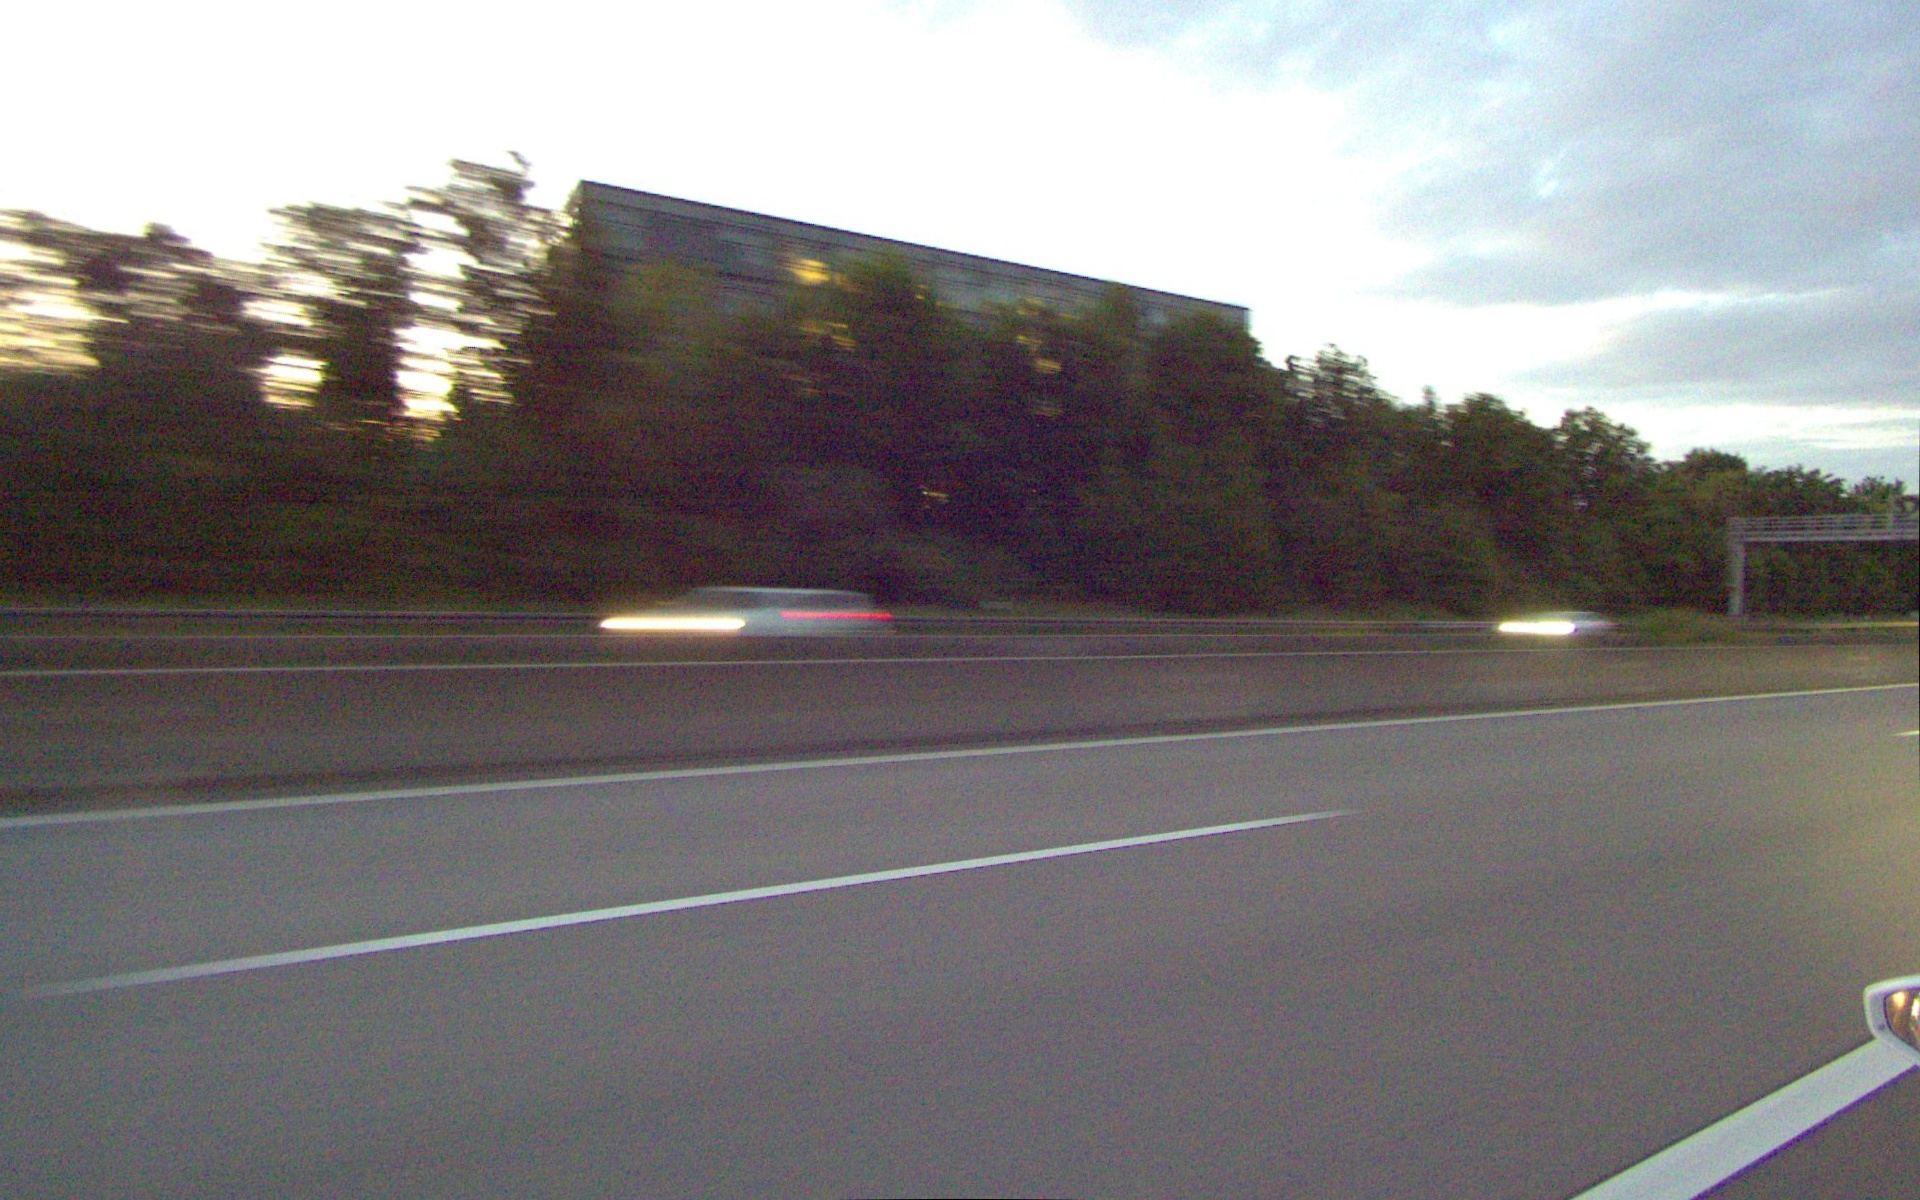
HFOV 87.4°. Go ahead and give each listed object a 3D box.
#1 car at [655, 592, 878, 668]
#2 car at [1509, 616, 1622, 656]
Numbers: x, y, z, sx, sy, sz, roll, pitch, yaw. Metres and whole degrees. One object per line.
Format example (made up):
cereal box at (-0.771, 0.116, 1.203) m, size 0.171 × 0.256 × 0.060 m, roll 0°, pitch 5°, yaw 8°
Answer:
car at (-4.272, 0.659, 22.322) m, size 4.453 × 1.525 × 1.984 m, roll 2°, pitch 0°, yaw -30°
car at (25.436, 1.517, 42.156) m, size 4.949 × 1.554 × 1.983 m, roll 2°, pitch 0°, yaw -31°
